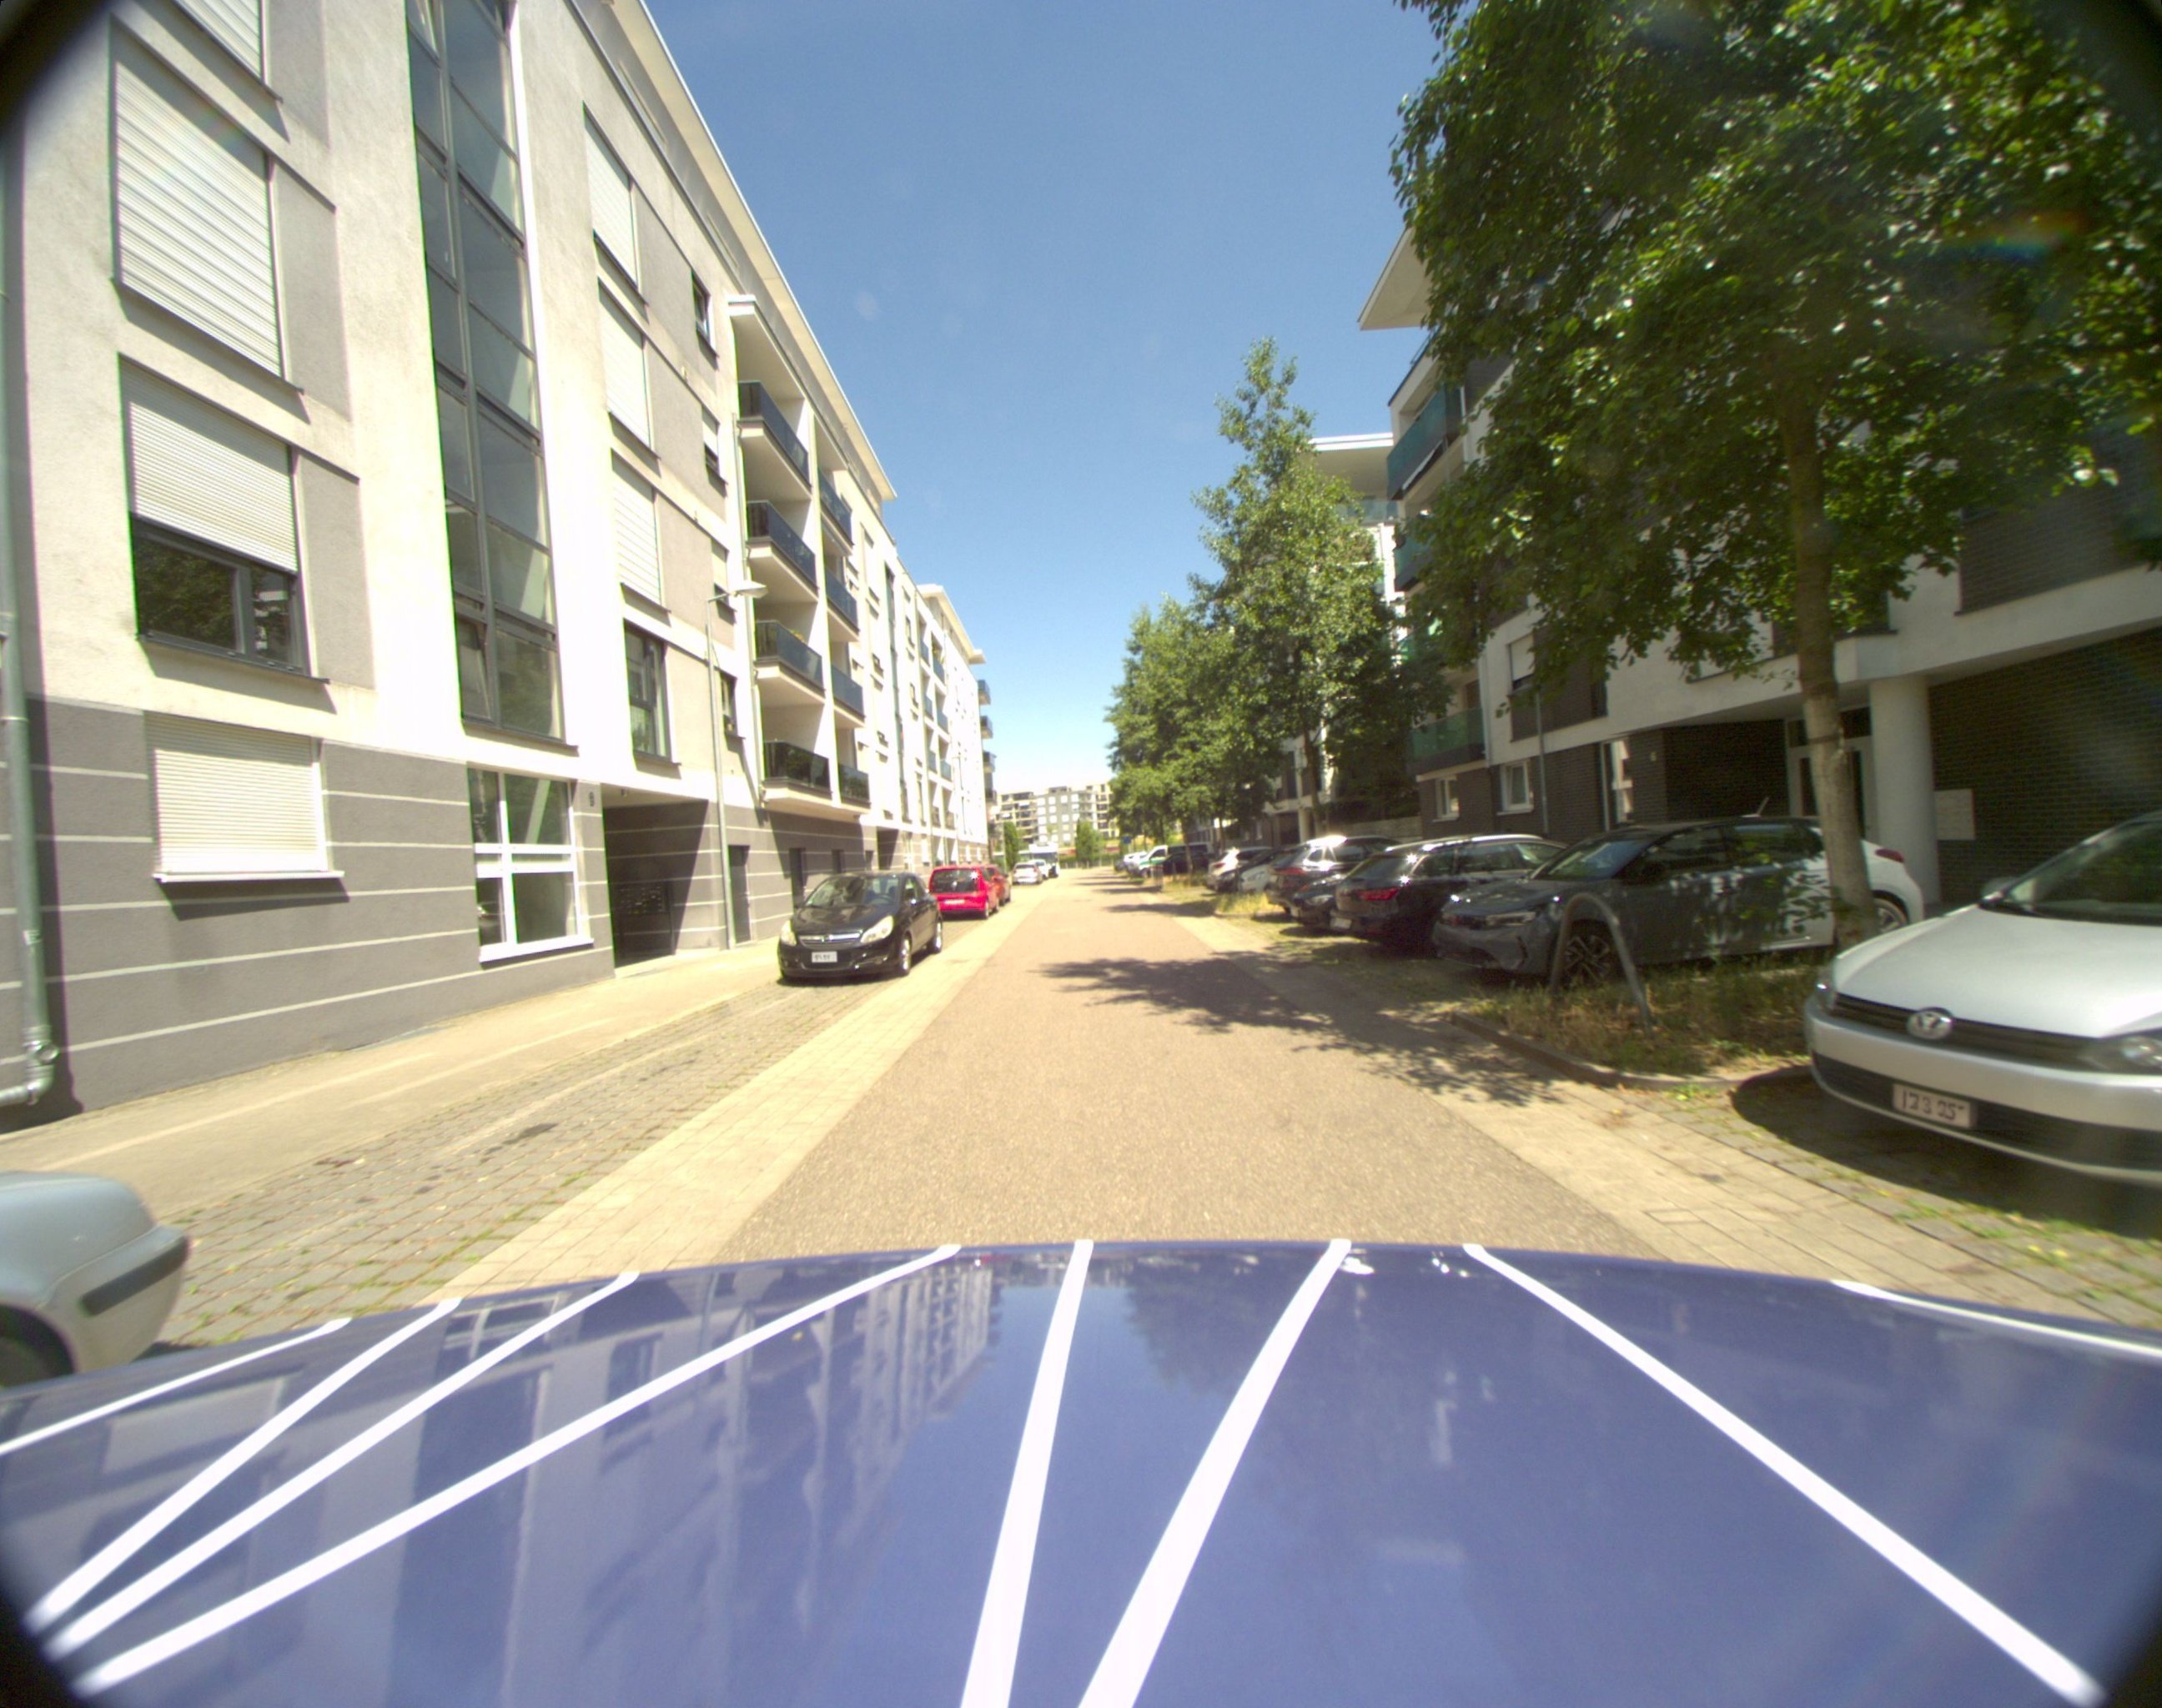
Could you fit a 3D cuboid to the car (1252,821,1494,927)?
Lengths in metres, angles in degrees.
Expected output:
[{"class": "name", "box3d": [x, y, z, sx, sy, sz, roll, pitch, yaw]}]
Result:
[{"class": "car", "box3d": [5.703, 0.373, 15.243, 3.997, 1.620, 1.933, -5, 0, 0]}]

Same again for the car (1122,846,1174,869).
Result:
[{"class": "car", "box3d": [5.885, 0.303, 67.095, 4.263, 1.521, 1.822, -6, 0, -3]}]

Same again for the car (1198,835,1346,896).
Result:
[{"class": "car", "box3d": [6.233, 0.372, 25.157, 4.263, 1.509, 1.924, -6, 0, 0]}]

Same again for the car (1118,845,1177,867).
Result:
[{"class": "car", "box3d": [6.071, 0.212, 69.814, 5.042, 1.622, 2.042, -4, 0, -2]}]

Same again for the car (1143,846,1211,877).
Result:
[{"class": "car", "box3d": [5.574, 0.415, 44.271, 3.632, 1.473, 1.678, -5, 1, 0]}]

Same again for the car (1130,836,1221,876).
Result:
[{"class": "car", "box3d": [5.781, 0.137, 47.059, 5.355, 2.098, 2.187, -4, 0, 2]}]

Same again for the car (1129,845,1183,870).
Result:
[{"class": "car", "box3d": [5.895, 0.276, 59.869, 3.990, 1.620, 1.950, -5, 1, 2]}]

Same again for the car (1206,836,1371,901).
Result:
[{"class": "car", "box3d": [6.097, 0.413, 22.712, 4.327, 1.467, 1.793, -5, 0, 0]}]

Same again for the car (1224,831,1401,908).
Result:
[{"class": "car", "box3d": [6.027, 0.386, 20.152, 3.997, 1.582, 1.884, -5, 0, 1]}]

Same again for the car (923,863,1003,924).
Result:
[{"class": "car", "box3d": [-3.209, 1.029, 21.332, 1.599, 1.477, 3.675, -2, 0, 0]}]

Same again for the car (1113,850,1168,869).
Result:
[{"class": "car", "box3d": [5.865, 0.497, 74.878, 5.112, 1.476, 1.927, -4, 1, -2]}]

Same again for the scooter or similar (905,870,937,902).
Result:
[{"class": "scooter or similar", "box3d": [-6.653, 1.307, 31.690, 0.546, 1.218, 1.531, -5, 0, 15]}]

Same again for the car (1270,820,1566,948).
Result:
[{"class": "car", "box3d": [5.447, 0.463, 12.720, 3.996, 1.641, 1.918, -5, 0, 2]}]

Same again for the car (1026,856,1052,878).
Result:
[{"class": "car", "box3d": [-3.102, 0.919, 57.050, 1.812, 1.496, 4.260, -3, 0, -2]}]

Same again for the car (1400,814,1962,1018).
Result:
[{"class": "car", "box3d": [5.635, 0.549, 7.597, 3.997, 1.414, 1.897, -6, 0, 1]}]

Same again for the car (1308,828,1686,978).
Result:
[{"class": "car", "box3d": [5.330, 0.582, 10.077, 3.985, 1.437, 1.775, -5, 1, -3]}]

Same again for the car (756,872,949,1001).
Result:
[{"class": "car", "box3d": [-3.211, 1.075, 11.563, 1.647, 1.454, 4.117, -2, 0, 0]}]

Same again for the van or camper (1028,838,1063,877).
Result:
[{"class": "van or camper", "box3d": [-2.876, 0.235, 63.329, 2.445, 2.889, 7.824, -5, 1, -1]}]

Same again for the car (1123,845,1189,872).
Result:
[{"class": "car", "box3d": [5.608, 0.343, 57.239, 4.571, 1.585, 1.966, -6, 1, -5]}]

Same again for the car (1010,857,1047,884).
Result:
[{"class": "car", "box3d": [-3.240, 1.004, 48.038, 1.850, 1.408, 4.426, -4, 0, 1]}]

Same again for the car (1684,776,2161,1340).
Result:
[{"class": "car", "box3d": [5.394, 0.542, 3.061, 4.372, 1.700, 1.999, -2, 0, -2]}]

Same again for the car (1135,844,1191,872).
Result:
[{"class": "car", "box3d": [5.842, 0.300, 54.599, 3.689, 1.666, 1.852, -5, 0, 0]}]

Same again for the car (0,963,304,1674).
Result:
[{"class": "car", "box3d": [-3.374, 1.125, 0.175, 1.838, 1.496, 4.350, -2, 0, 0]}]

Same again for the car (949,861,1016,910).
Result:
[{"class": "car", "box3d": [-3.391, 1.046, 26.868, 1.742, 1.478, 4.258, -3, 0, 0]}]
